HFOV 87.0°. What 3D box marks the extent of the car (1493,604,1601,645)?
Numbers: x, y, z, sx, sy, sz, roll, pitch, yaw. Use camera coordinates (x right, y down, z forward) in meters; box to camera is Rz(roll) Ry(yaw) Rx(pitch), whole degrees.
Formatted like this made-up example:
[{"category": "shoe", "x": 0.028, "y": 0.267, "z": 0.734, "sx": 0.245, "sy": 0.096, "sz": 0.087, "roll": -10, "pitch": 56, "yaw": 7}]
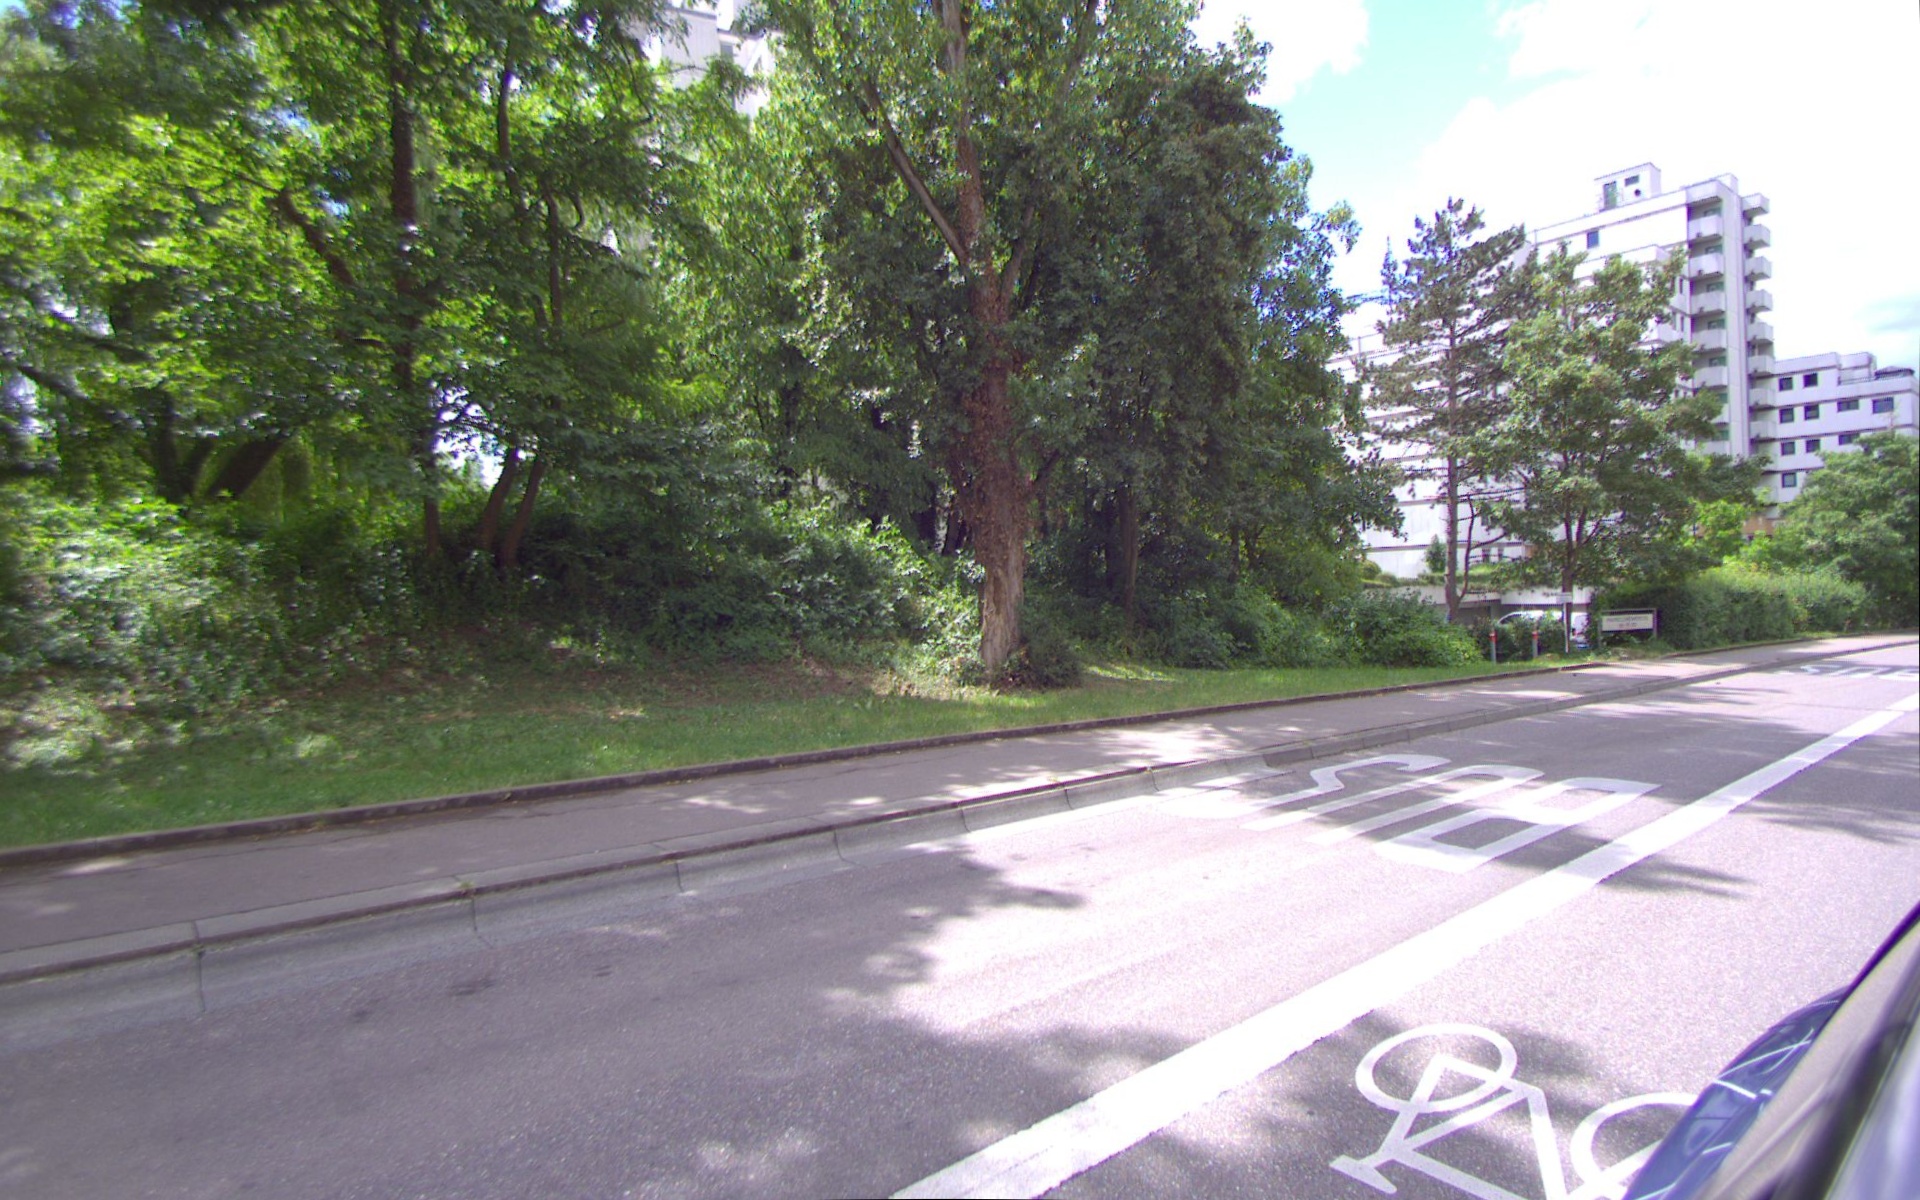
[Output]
[{"category": "car", "x": 31.038, "y": 1.232, "z": 53.637, "sx": 1.962, "sy": 2.039, "sz": 4.549, "roll": -1, "pitch": 0, "yaw": -34}]
